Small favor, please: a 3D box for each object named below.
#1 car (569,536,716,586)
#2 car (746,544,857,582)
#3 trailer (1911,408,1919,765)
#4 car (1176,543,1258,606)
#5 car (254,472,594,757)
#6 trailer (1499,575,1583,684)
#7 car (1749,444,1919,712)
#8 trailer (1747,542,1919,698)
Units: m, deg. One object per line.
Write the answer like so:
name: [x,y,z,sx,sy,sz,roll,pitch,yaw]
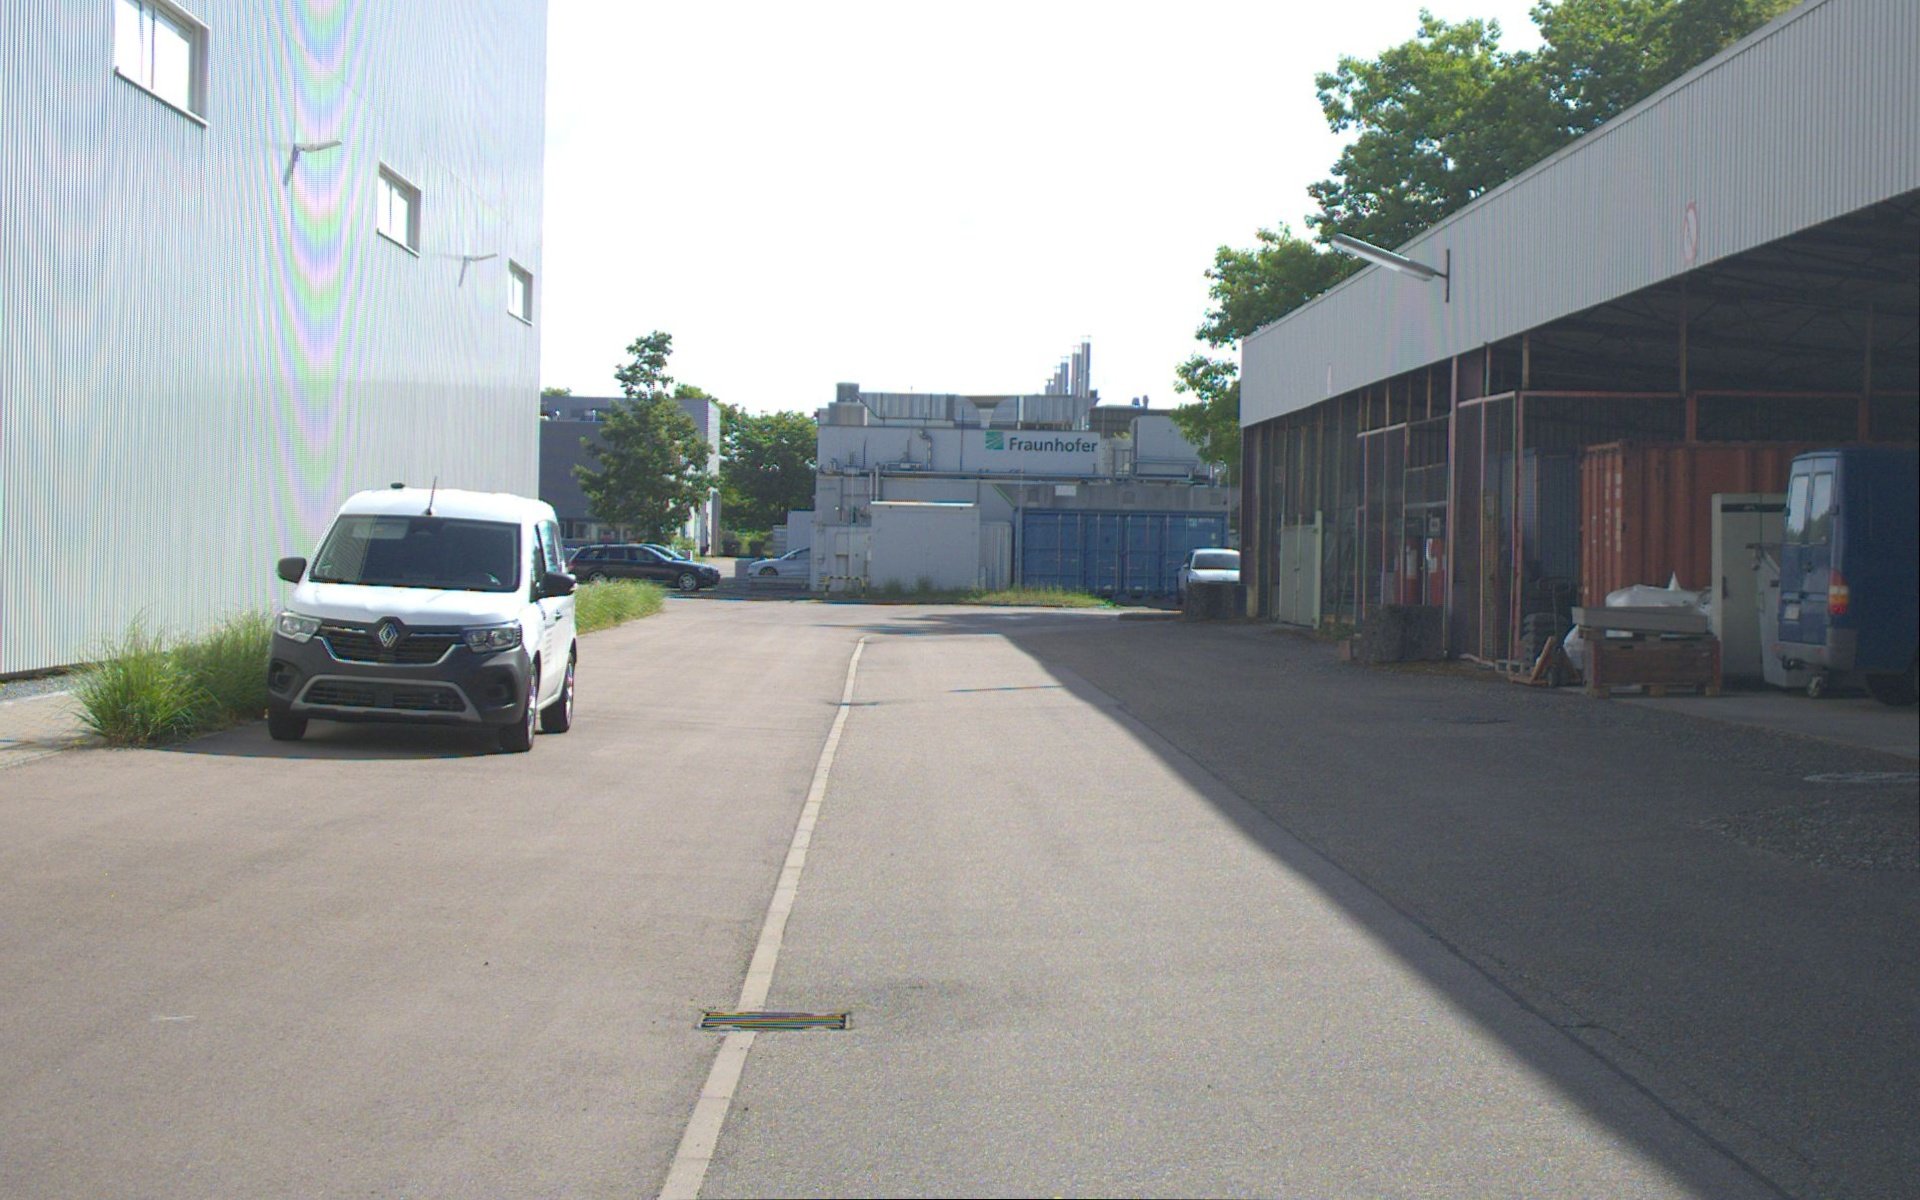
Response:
car: [-9.866,-1.206,106.983,4.447,1.526,1.824,0,0,-1]
car: [-6.193,-1.449,134.924,4.302,1.452,1.824,0,0,-1]
trailer: [8.532,-0.095,21.644,4.516,2.334,2.047,0,0,0]
car: [7.054,-0.718,94.725,1.979,1.597,4.377,0,2,0]
car: [-3.798,0.077,25.097,1.783,1.809,4.602,3,0,-1]
trailer: [6.100,0.294,36.143,0.551,1.114,1.547,0,0,-3]
car: [9.928,-0.174,30.457,5.332,2.273,2.153,1,0,-1]
trailer: [8.751,0.172,33.062,2.038,1.461,1.738,0,1,3]
